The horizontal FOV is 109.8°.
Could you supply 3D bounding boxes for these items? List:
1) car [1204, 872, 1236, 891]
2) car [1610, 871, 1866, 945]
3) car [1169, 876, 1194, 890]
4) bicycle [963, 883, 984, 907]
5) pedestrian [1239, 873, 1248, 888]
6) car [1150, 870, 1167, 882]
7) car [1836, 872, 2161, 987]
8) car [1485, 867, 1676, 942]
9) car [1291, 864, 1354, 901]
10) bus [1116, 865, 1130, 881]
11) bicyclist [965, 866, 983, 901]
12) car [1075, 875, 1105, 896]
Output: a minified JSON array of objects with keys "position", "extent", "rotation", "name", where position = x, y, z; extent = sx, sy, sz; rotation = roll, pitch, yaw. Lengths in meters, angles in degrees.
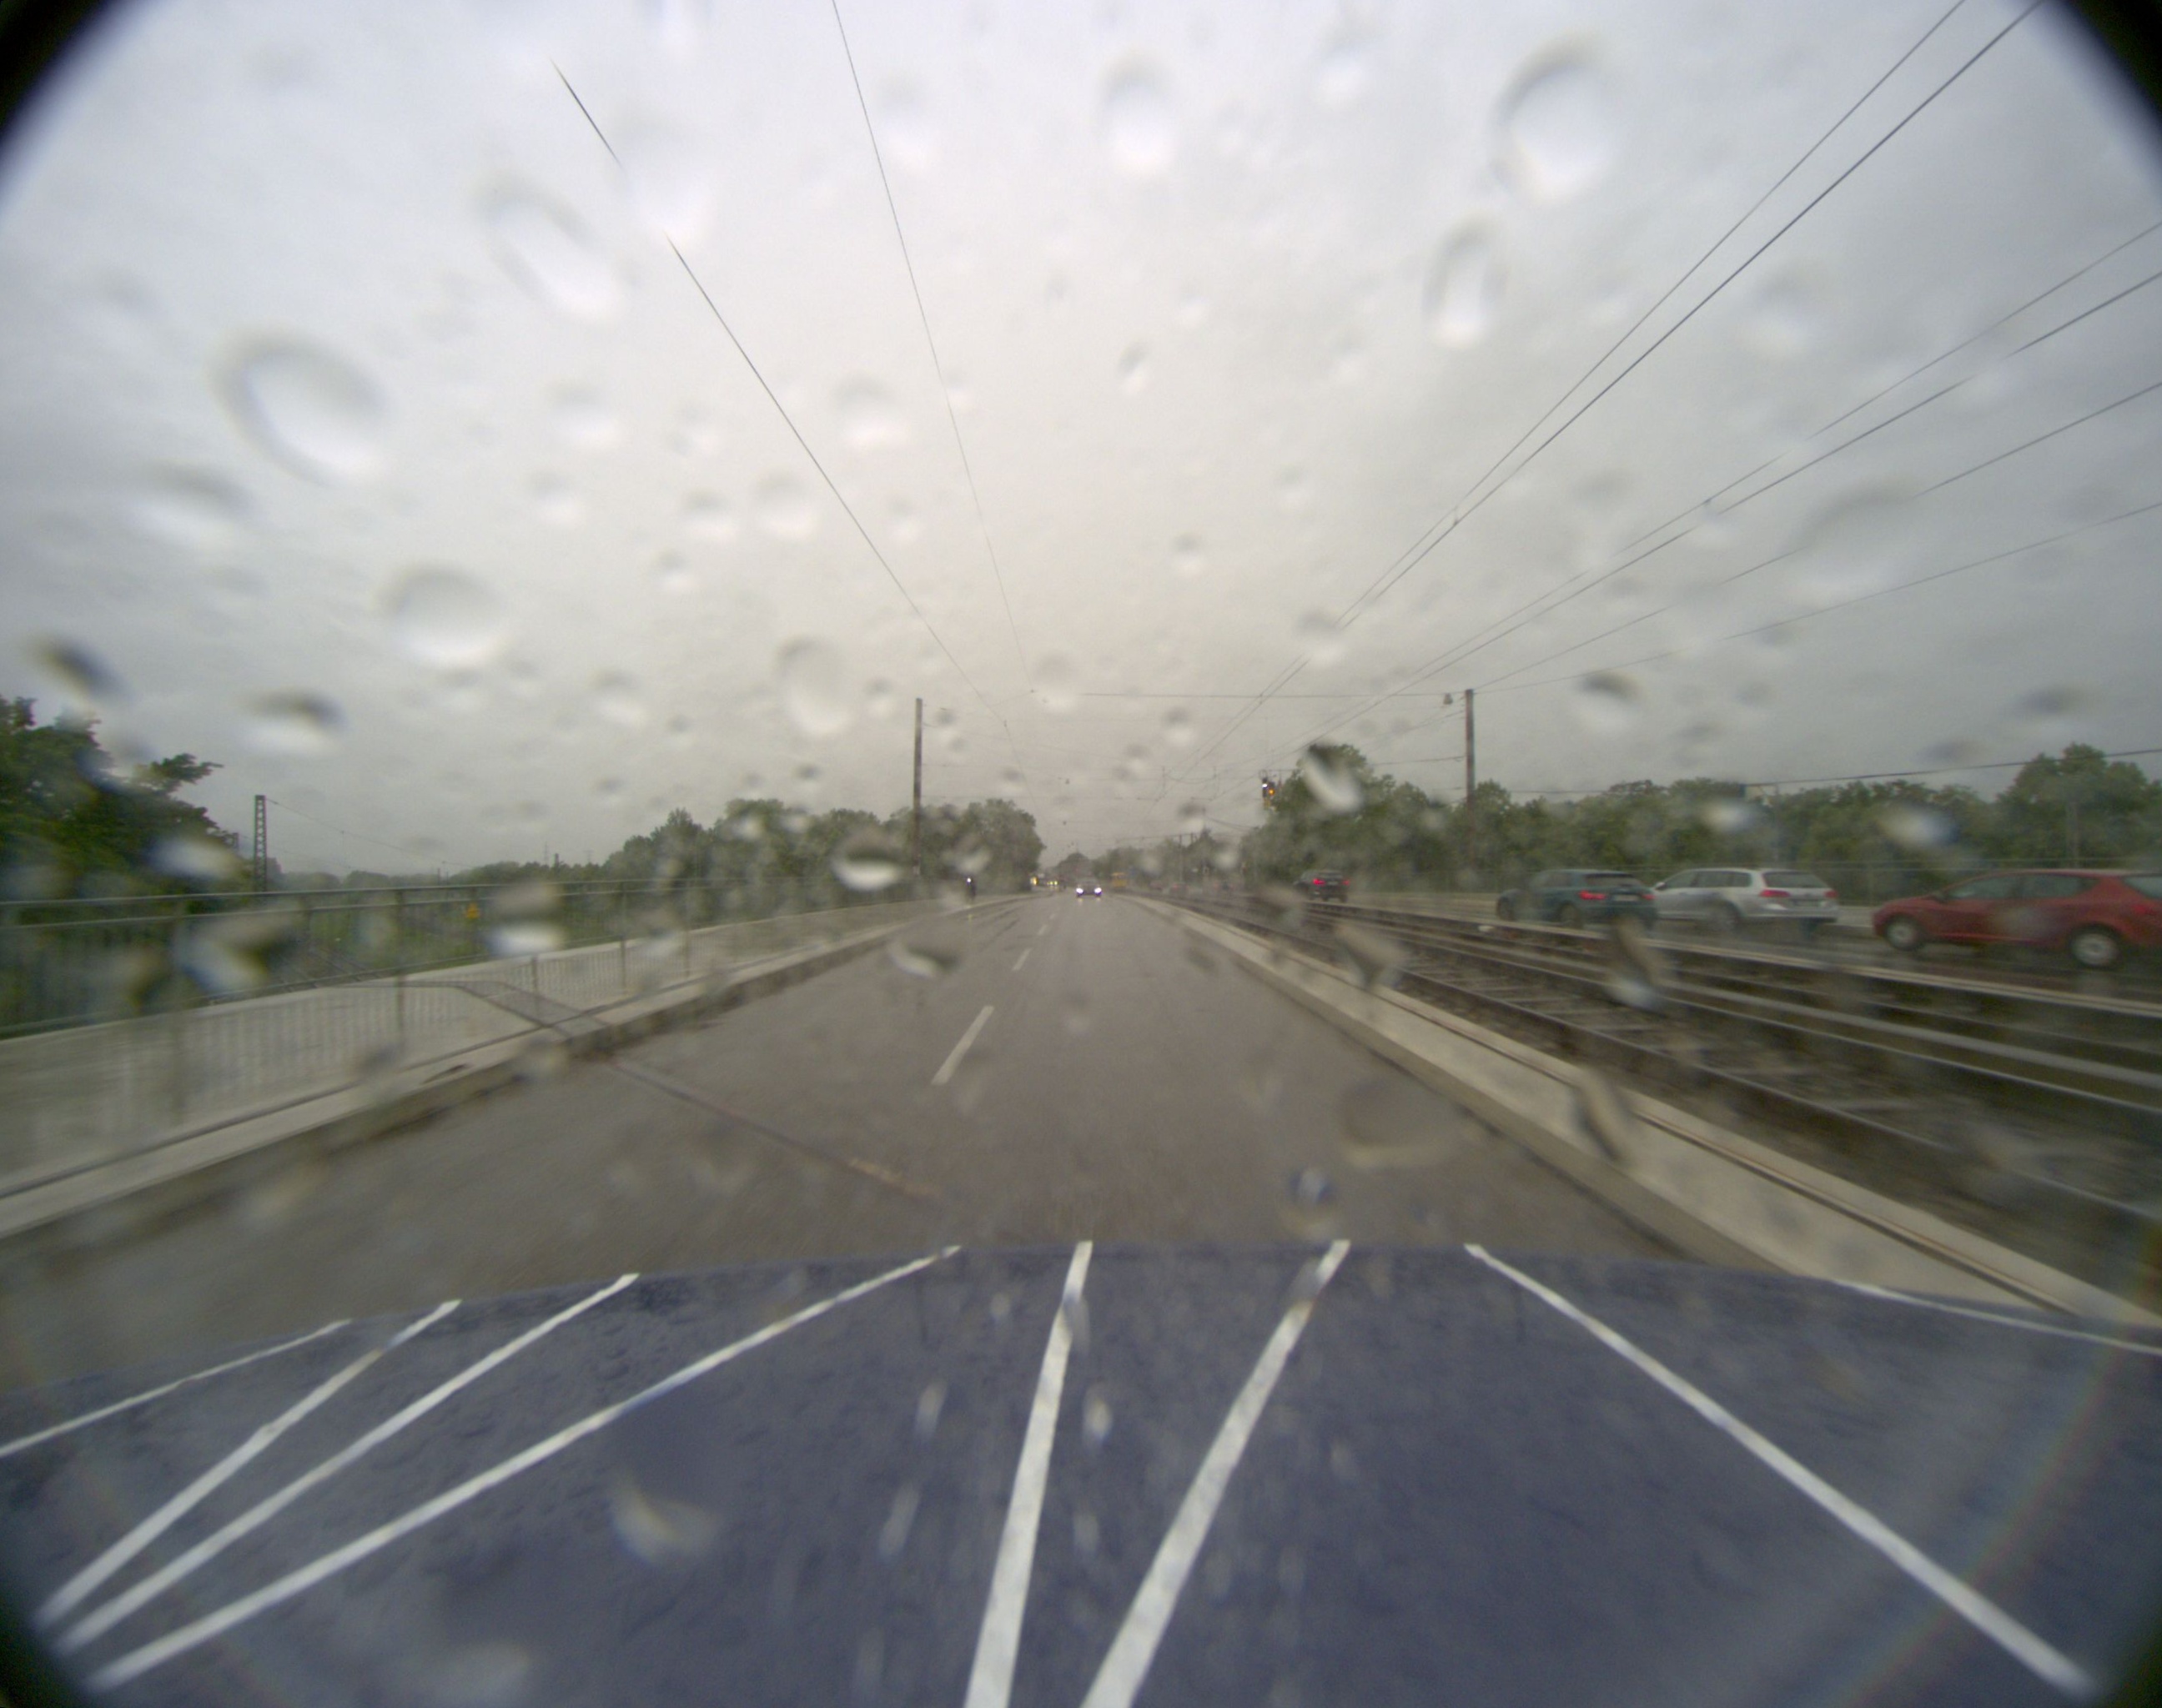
[{"position":[12.059,2.364,66.155],"extent":[1.999,1.500,4.092],"rotation":[1,-1,-1],"name":"car"},{"position":[15.130,1.159,17.944],"extent":[1.999,1.447,4.620],"rotation":[1,-1,-1],"name":"car"},{"position":[11.717,3.342,89.011],"extent":[1.999,1.500,5.113],"rotation":[1,-1,-2],"name":"car"},{"position":[-5.432,2.047,38.591],"extent":[0.725,1.122,2.168],"rotation":[-2,-1,0],"name":"bicycle"},{"position":[20.082,3.275,93.849],"extent":[0.867,1.808,1.043],"rotation":[-2,0,-2],"name":"pedestrian"},{"position":[11.945,3.418,117.173],"extent":[1.998,1.706,4.942],"rotation":[1,-1,0],"name":"car"},{"position":[14.982,1.059,12.074],"extent":[1.624,1.447,4.322],"rotation":[1,-1,-1],"name":"car"},{"position":[11.514,1.083,17.912],"extent":[1.804,1.473,4.084],"rotation":[-2,-1,1],"name":"car"},{"position":[11.977,1.385,37.935],"extent":[1.822,1.644,4.000],"rotation":[-2,-1,1],"name":"car"},{"position":[9.671,4.543,176.544],"extent":[2.715,3.319,10.998],"rotation":[1,-3,0],"name":"bus"},{"position":[-5.447,1.486,38.627],"extent":[0.727,1.753,0.949],"rotation":[-2,0,0],"name":"bicyclist"},{"position":[0.672,2.543,61.641],"extent":[1.999,1.497,4.196],"rotation":[-2,-2,-4],"name":"car"}]
